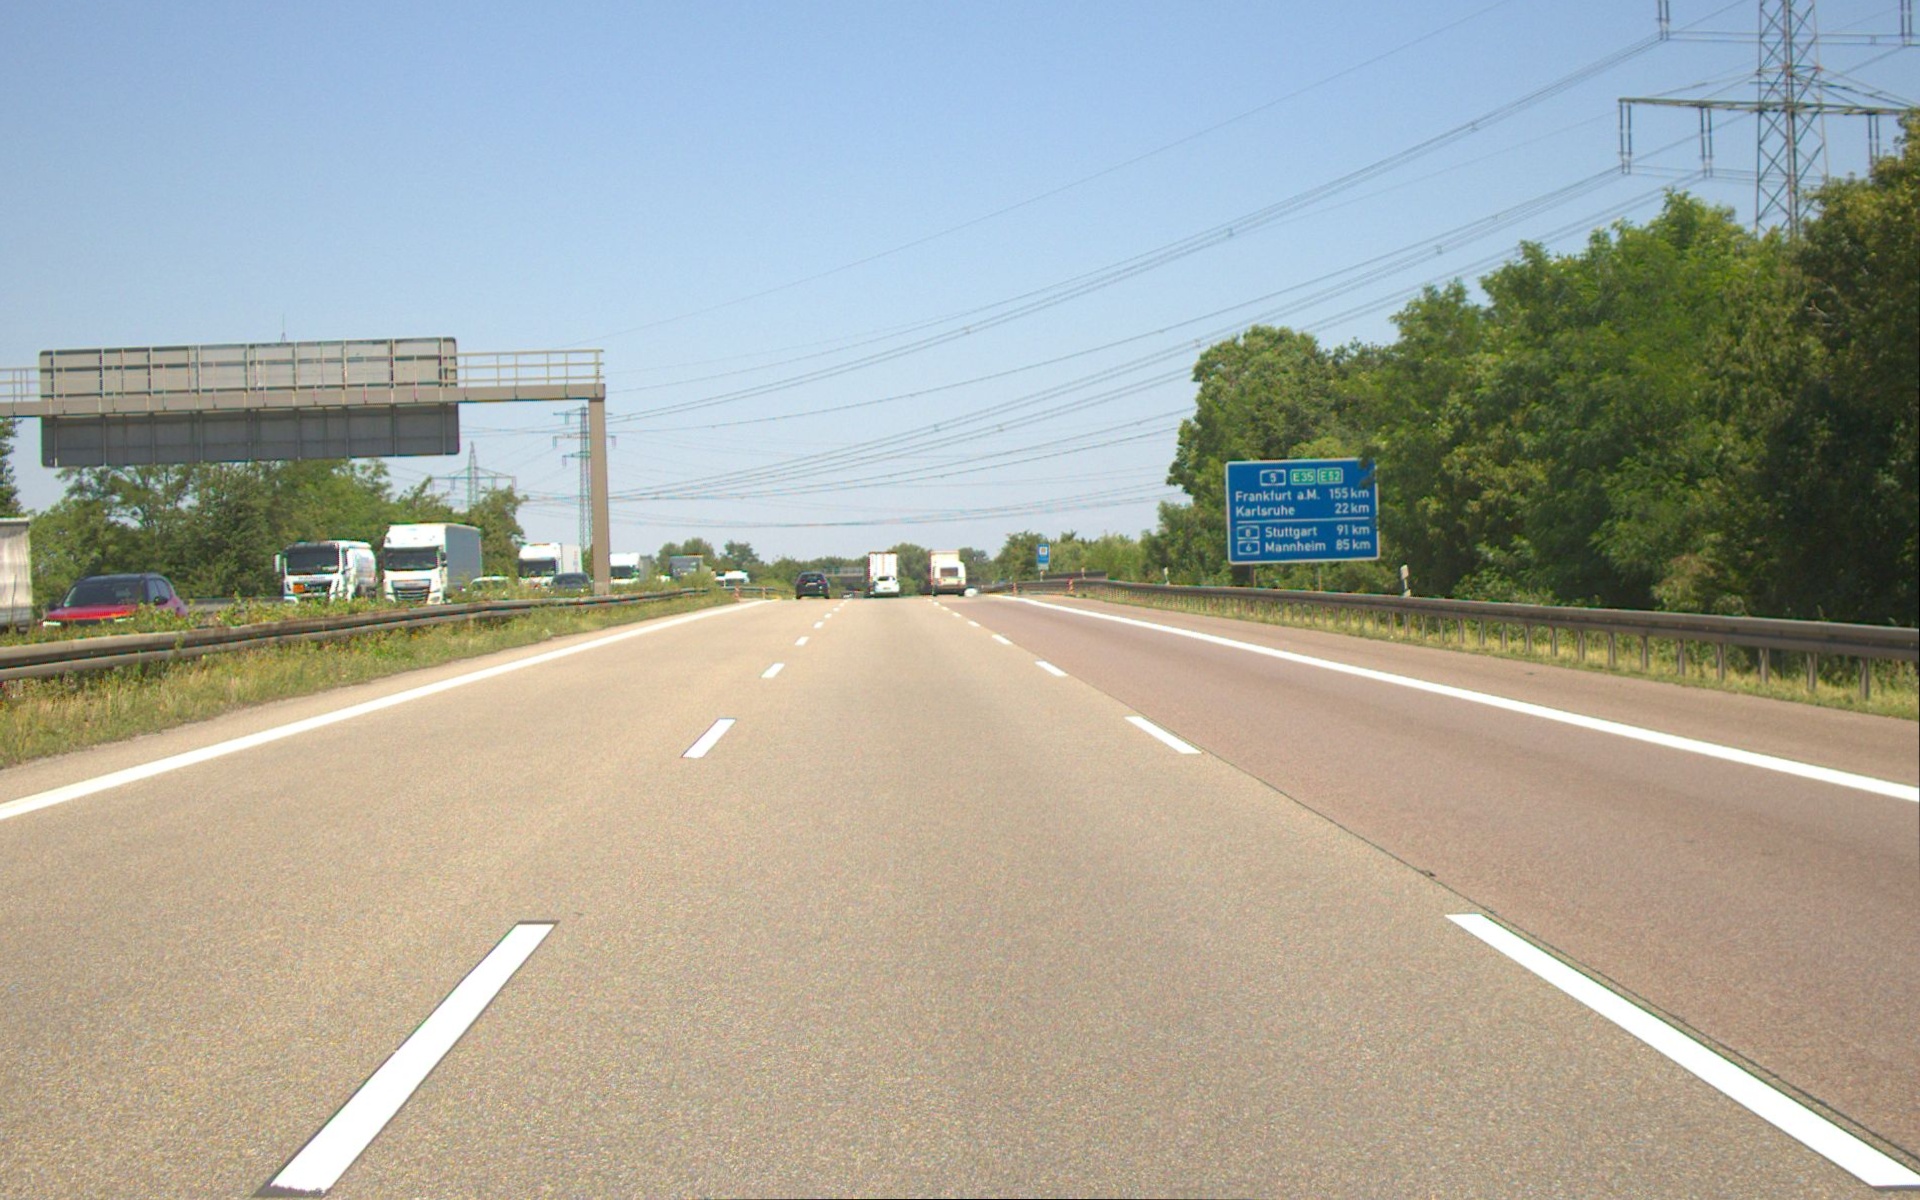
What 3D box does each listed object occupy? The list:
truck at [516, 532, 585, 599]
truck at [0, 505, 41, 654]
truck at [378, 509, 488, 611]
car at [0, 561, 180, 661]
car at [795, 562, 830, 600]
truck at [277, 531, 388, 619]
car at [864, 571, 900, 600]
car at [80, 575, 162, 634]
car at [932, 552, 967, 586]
[{"bbox_3d":[-26.204,-2.238,220.737,2.960,4.077,17.030,-1,1,-2],"label":"truck"},{"bbox_3d":[-23.463,-0.465,79.766,2.369,3.453,7.423,-1,1,-1],"label":"truck"},{"bbox_3d":[-24.057,-1.840,157.949,2.712,4.374,17.327,-1,1,-1],"label":"truck"},{"bbox_3d":[-13.953,0.150,55.231,1.993,1.514,4.000,-1,1,-1],"label":"car"},{"bbox_3d":[-7.937,-1.046,185.579,1.791,2.007,3.888,0,1,-1],"label":"car"},{"bbox_3d":[-23.775,-0.969,130.655,2.712,3.197,8.925,-1,1,-1],"label":"truck"},{"bbox_3d":[-5.514,-1.026,242.903,2.177,1.923,4.611,-1,1,2],"label":"car"},{"bbox_3d":[-27.403,0.138,112.387,1.931,1.809,4.001,-2,1,-4],"label":"car"},{"bbox_3d":[-0.657,-1.914,210.628,1.993,2.007,4.000,-1,1,-2],"label":"car"}]
